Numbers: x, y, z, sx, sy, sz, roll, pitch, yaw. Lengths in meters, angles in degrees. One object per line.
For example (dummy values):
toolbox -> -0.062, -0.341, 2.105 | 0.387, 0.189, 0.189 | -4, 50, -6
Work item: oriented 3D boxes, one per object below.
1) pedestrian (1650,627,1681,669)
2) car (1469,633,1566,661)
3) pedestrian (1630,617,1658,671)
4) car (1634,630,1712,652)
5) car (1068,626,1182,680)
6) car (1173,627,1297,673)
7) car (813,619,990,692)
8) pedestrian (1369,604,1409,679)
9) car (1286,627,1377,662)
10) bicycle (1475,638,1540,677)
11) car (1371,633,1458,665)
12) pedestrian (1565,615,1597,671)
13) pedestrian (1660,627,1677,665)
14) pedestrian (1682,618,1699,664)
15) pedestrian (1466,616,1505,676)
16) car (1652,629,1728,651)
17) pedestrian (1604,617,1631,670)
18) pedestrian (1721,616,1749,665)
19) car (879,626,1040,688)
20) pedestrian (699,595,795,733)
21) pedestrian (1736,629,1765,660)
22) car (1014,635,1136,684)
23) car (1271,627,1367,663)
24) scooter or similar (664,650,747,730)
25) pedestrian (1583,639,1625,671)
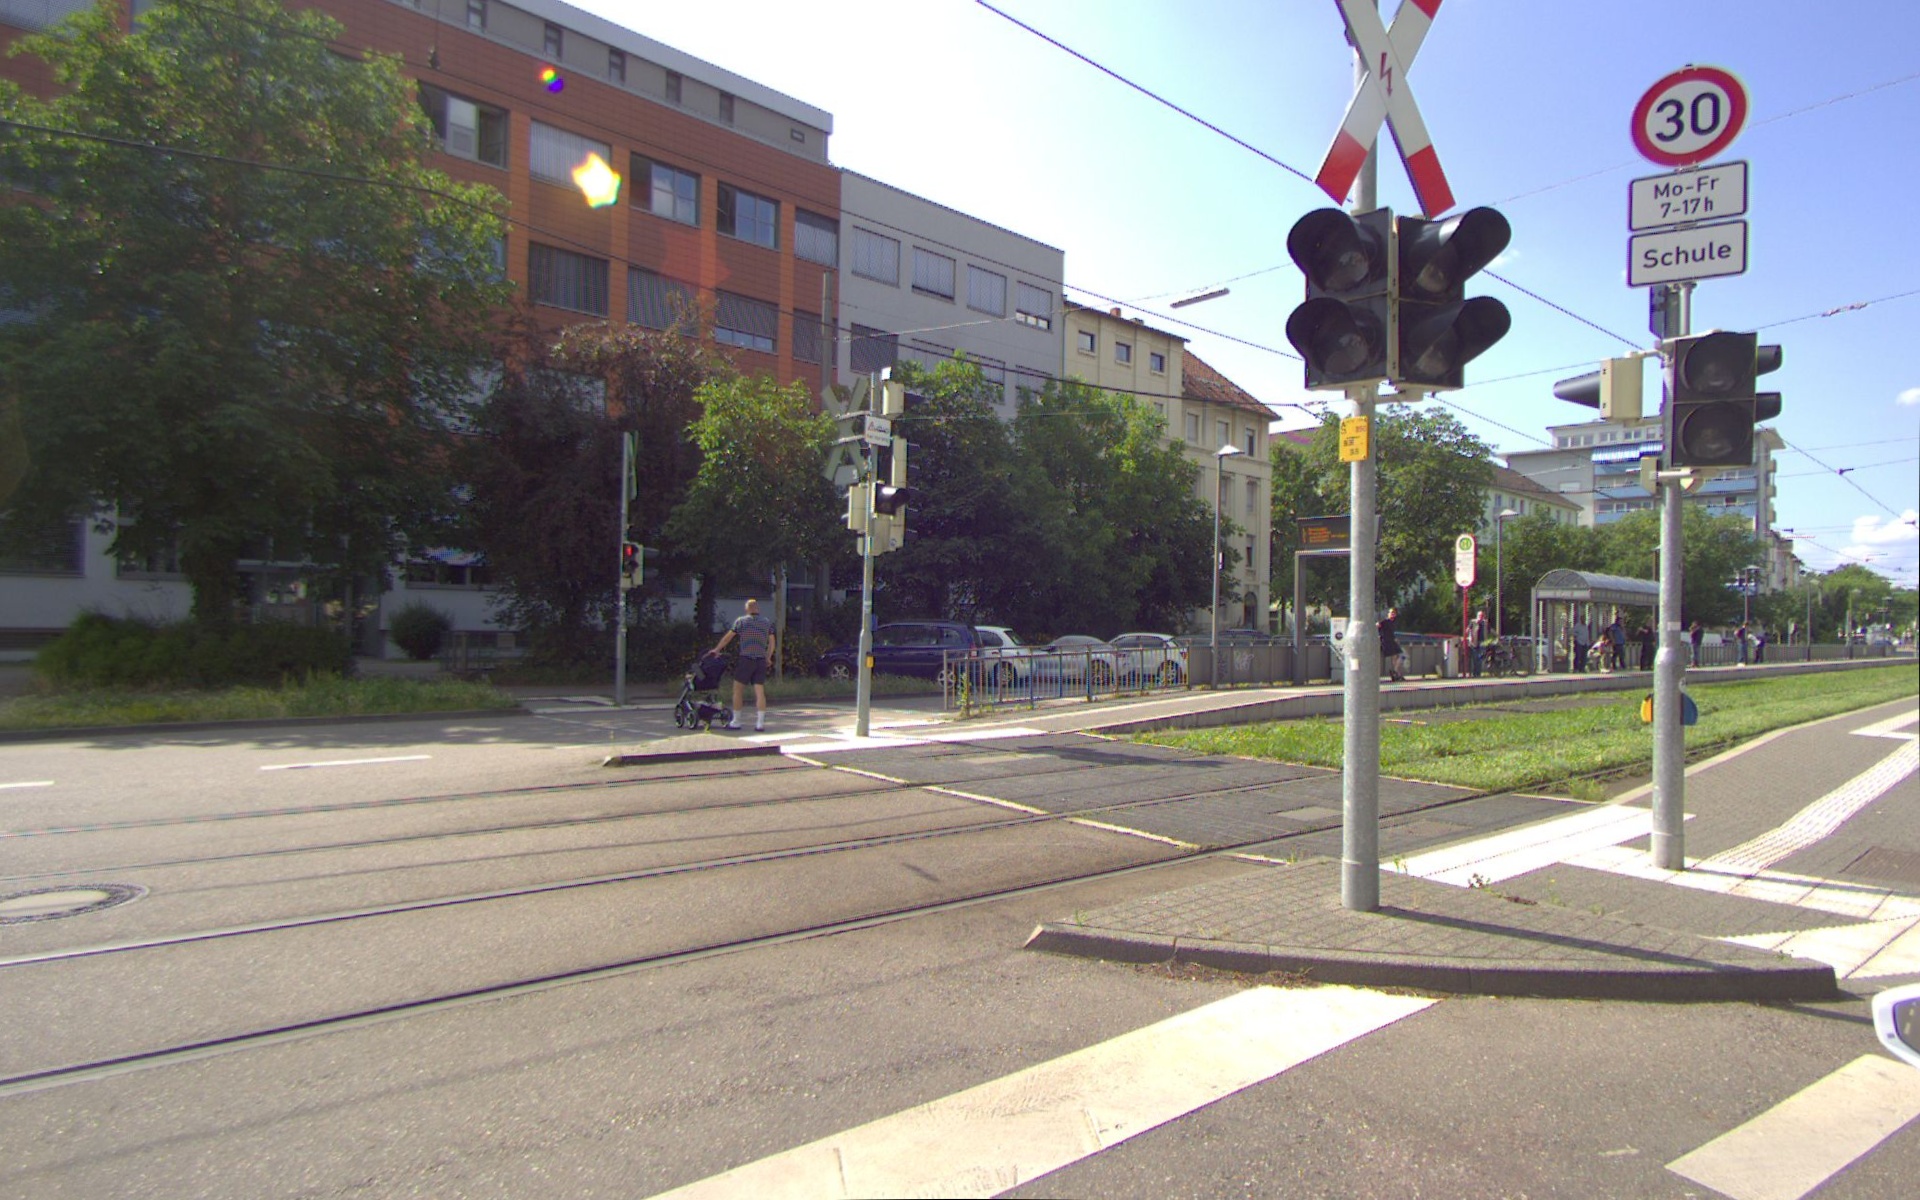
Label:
pedestrian -> 24.093, 1.634, 34.307 | 0.552, 1.444, 0.656 | 0, -2, -3
car -> 28.016, 2.349, 50.567 | 3.919, 1.385, 1.717 | 0, -2, 9
pedestrian -> 23.297, 1.488, 34.206 | 0.631, 1.789, 0.601 | 1, -1, -31
car -> 47.218, 2.695, 66.530 | 3.919, 1.404, 1.640 | 1, -1, 5
car -> 5.049, 1.597, 30.607 | 3.320, 1.525, 1.545 | 1, -1, 12
car -> 9.253, 1.682, 34.051 | 3.919, 1.476, 1.692 | 0, -2, 10
car -> -1.400, 1.335, 24.764 | 4.049, 1.662, 1.727 | 1, -1, 11
pedestrian -> 10.154, 0.974, 23.788 | 0.654, 1.749, 0.714 | 1, -1, 2
car -> 15.027, 1.783, 40.692 | 3.181, 1.326, 1.457 | 1, -1, 4
bicycle -> 14.435, 1.512, 26.456 | 1.750, 0.987, 0.683 | 1, -3, -31
car -> 20.100, 2.168, 44.501 | 3.181, 1.326, 1.457 | 1, -1, 4
pedestrian -> 19.251, 1.329, 31.149 | 0.651, 1.714, 0.649 | 2, -2, -39
pedestrian -> 27.761, 1.809, 39.354 | 0.482, 1.471, 0.462 | -1, -2, 40
pedestrian -> 28.128, 1.576, 38.668 | 0.482, 1.735, 0.462 | -1, -2, 40
pedestrian -> 14.143, 1.235, 27.015 | 0.678, 1.590, 0.660 | 1, -3, -32
car -> 50.953, 2.801, 70.201 | 3.920, 1.466, 1.729 | 0, -1, 16
pedestrian -> 22.186, 1.452, 33.879 | 0.551, 1.759, 0.589 | 1, -2, -35
pedestrian -> 32.796, 1.688, 42.484 | 0.656, 2.040, 0.795 | 1, -1, -37
car -> 0.024, 1.479, 26.815 | 4.049, 1.519, 1.727 | 1, -1, 11
pedestrian -> -2.922, 0.866, 13.807 | 0.996, 1.798, 0.863 | 2, -3, -42
pedestrian -> 37.880, 2.148, 48.126 | 1.015, 1.456, 0.701 | -2, -2, 36
car -> 3.279, 1.656, 28.431 | 3.320, 1.252, 1.545 | 1, -1, 11
car -> 13.717, 1.709, 38.478 | 3.182, 1.326, 1.457 | 1, -1, 2
scooter or similar -> -3.602, 1.252, 14.214 | 0.791, 1.078, 0.945 | 2, -3, -42
pedestrian -> 20.496, 1.743, 31.969 | 0.790, 1.001, 0.918 | 4, -4, -37
